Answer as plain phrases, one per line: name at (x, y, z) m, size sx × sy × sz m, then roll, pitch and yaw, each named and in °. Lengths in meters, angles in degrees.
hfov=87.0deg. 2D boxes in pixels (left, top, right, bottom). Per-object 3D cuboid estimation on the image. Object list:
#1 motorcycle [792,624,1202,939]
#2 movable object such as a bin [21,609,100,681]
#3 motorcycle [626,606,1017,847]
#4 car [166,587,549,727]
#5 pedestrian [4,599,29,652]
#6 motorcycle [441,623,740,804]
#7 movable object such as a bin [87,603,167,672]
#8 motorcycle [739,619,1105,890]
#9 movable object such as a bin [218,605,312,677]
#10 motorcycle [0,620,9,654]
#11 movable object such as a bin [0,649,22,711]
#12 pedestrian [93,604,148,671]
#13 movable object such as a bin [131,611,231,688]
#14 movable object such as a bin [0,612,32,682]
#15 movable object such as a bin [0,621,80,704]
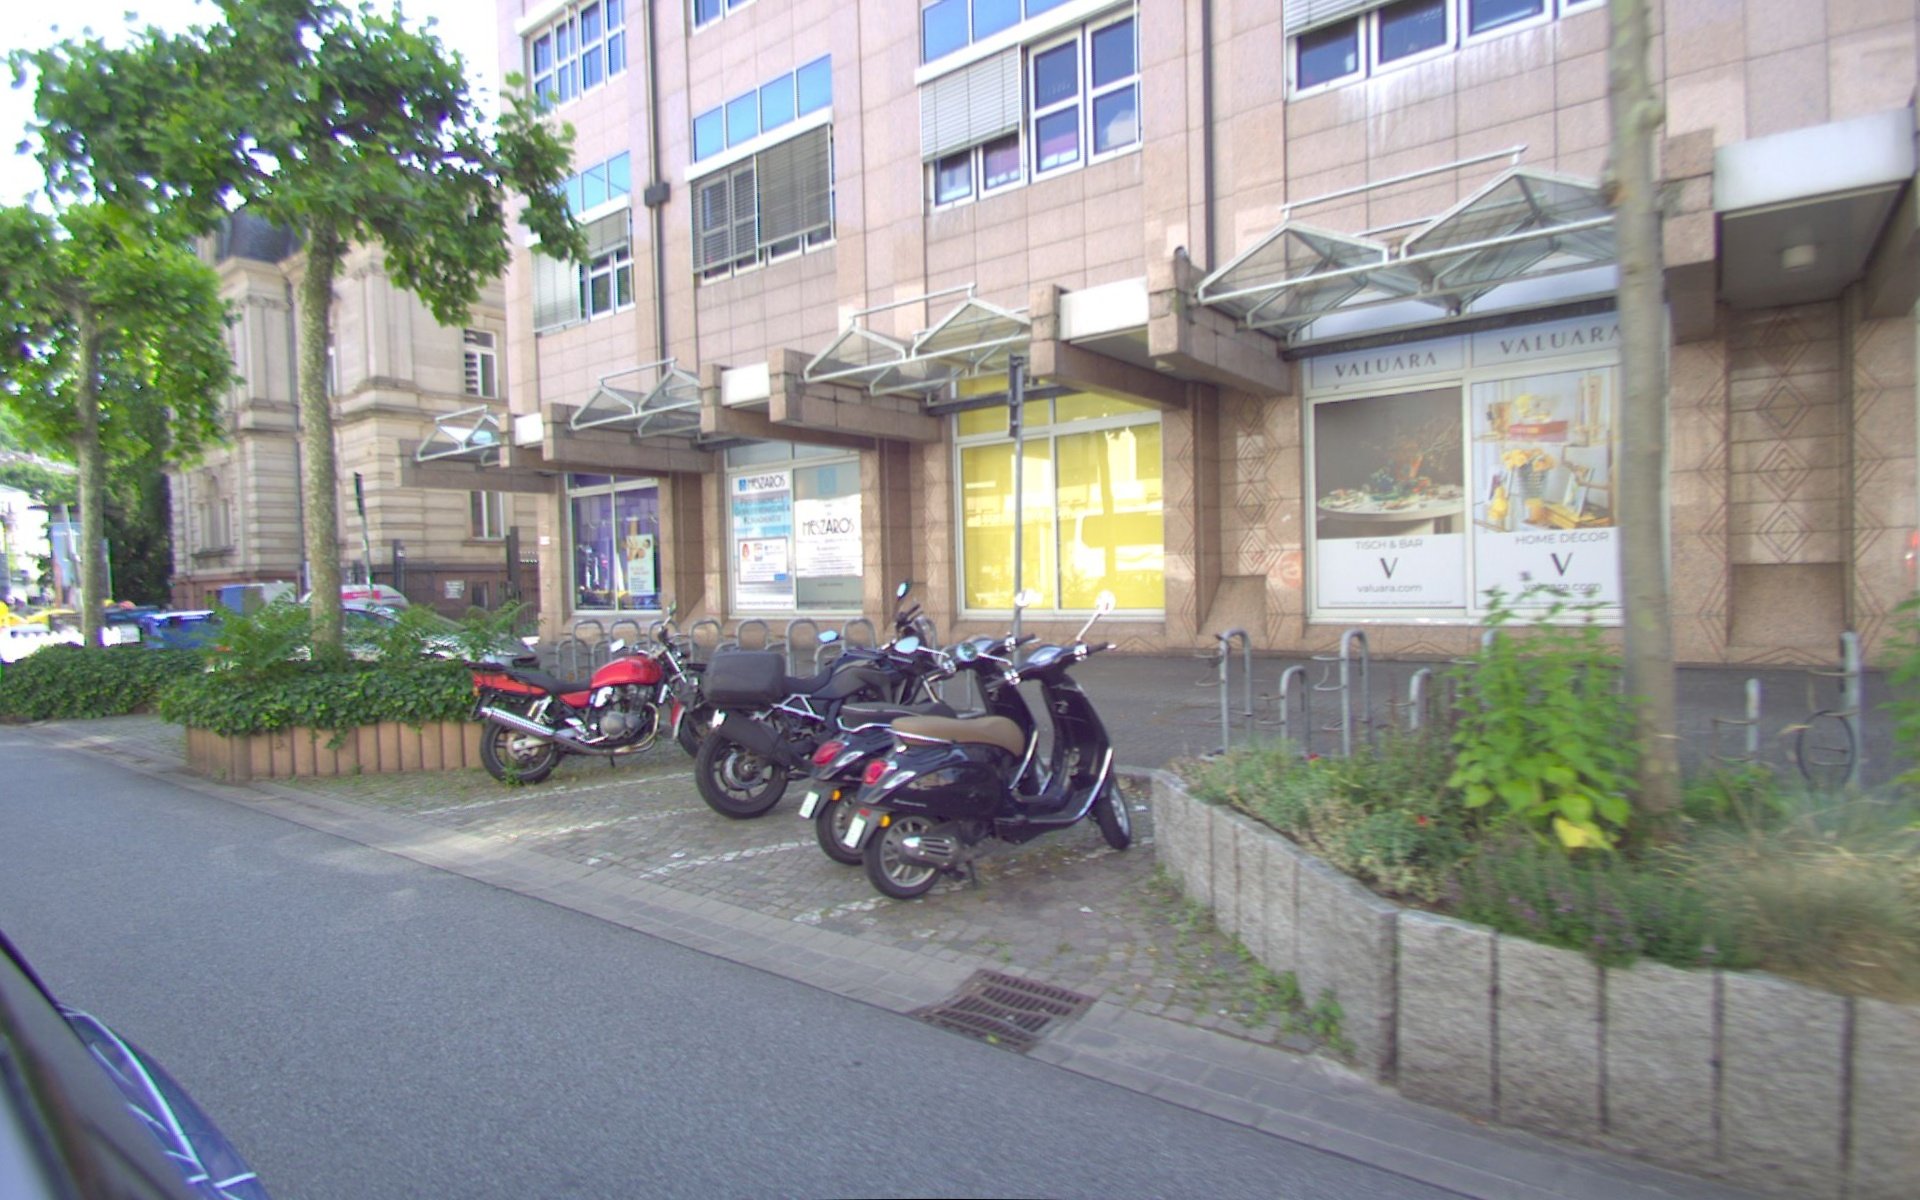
motorcycle at (0.222, 0.773, 5.018) m, size 1.884 × 1.178 × 0.762 m, roll -3°, pitch 1°, yaw -32°
movable object such as a bin at (-20.186, 0.990, 22.706) m, size 1.439 × 1.461 × 1.111 m, roll -2°, pitch 2°, yaw 43°
motorcycle at (-0.947, 0.744, 7.027) m, size 2.313 × 1.277 × 1.297 m, roll -3°, pitch 1°, yaw -32°
car at (-7.897, 0.688, 13.695) m, size 3.992 × 1.505 × 1.940 m, roll -3°, pitch 1°, yaw -11°
pedestrian at (-31.037, 0.827, 33.280) m, size 0.542 × 1.677 × 0.937 m, roll -2°, pitch 2°, yaw -44°
motorcycle at (-3.002, 0.854, 8.300) m, size 2.142 × 1.178 × 0.923 m, roll -3°, pitch 1°, yaw -25°
movable object such as a bin at (-19.317, 0.859, 23.465) m, size 1.364 × 1.461 × 1.196 m, roll -2°, pitch 2°, yaw 43°
motorcycle at (-0.179, 0.757, 5.656) m, size 1.884 × 1.178 × 0.730 m, roll -3°, pitch 1°, yaw -32°
movable object such as a bin at (-13.909, 0.812, 20.274) m, size 1.126 × 1.309 × 1.198 m, roll -2°, pitch 2°, yaw 38°
motorcycle at (-31.311, 1.196, 32.948) m, size 0.448 × 1.005 × 2.163 m, roll -5°, pitch 3°, yaw -43°
movable object such as a bin at (-15.183, 1.260, 15.835) m, size 0.495 × 0.946 × 0.553 m, roll -2°, pitch -1°, yaw 12°
pedestrian at (-22.475, 0.989, 27.098) m, size 0.746 × 1.738 × 0.882 m, roll -1°, pitch 1°, yaw 31°
movable object such as a bin at (-14.775, 0.918, 19.198) m, size 1.078 × 1.309 × 1.198 m, roll -3°, pitch 2°, yaw 38°
movable object such as a bin at (-20.942, 1.037, 21.885) m, size 1.439 × 1.461 × 1.111 m, roll -2°, pitch 2°, yaw 43°
movable object such as a bin at (-15.994, 1.056, 17.302) m, size 0.852 × 1.309 × 1.265 m, roll -1°, pitch 2°, yaw 37°
